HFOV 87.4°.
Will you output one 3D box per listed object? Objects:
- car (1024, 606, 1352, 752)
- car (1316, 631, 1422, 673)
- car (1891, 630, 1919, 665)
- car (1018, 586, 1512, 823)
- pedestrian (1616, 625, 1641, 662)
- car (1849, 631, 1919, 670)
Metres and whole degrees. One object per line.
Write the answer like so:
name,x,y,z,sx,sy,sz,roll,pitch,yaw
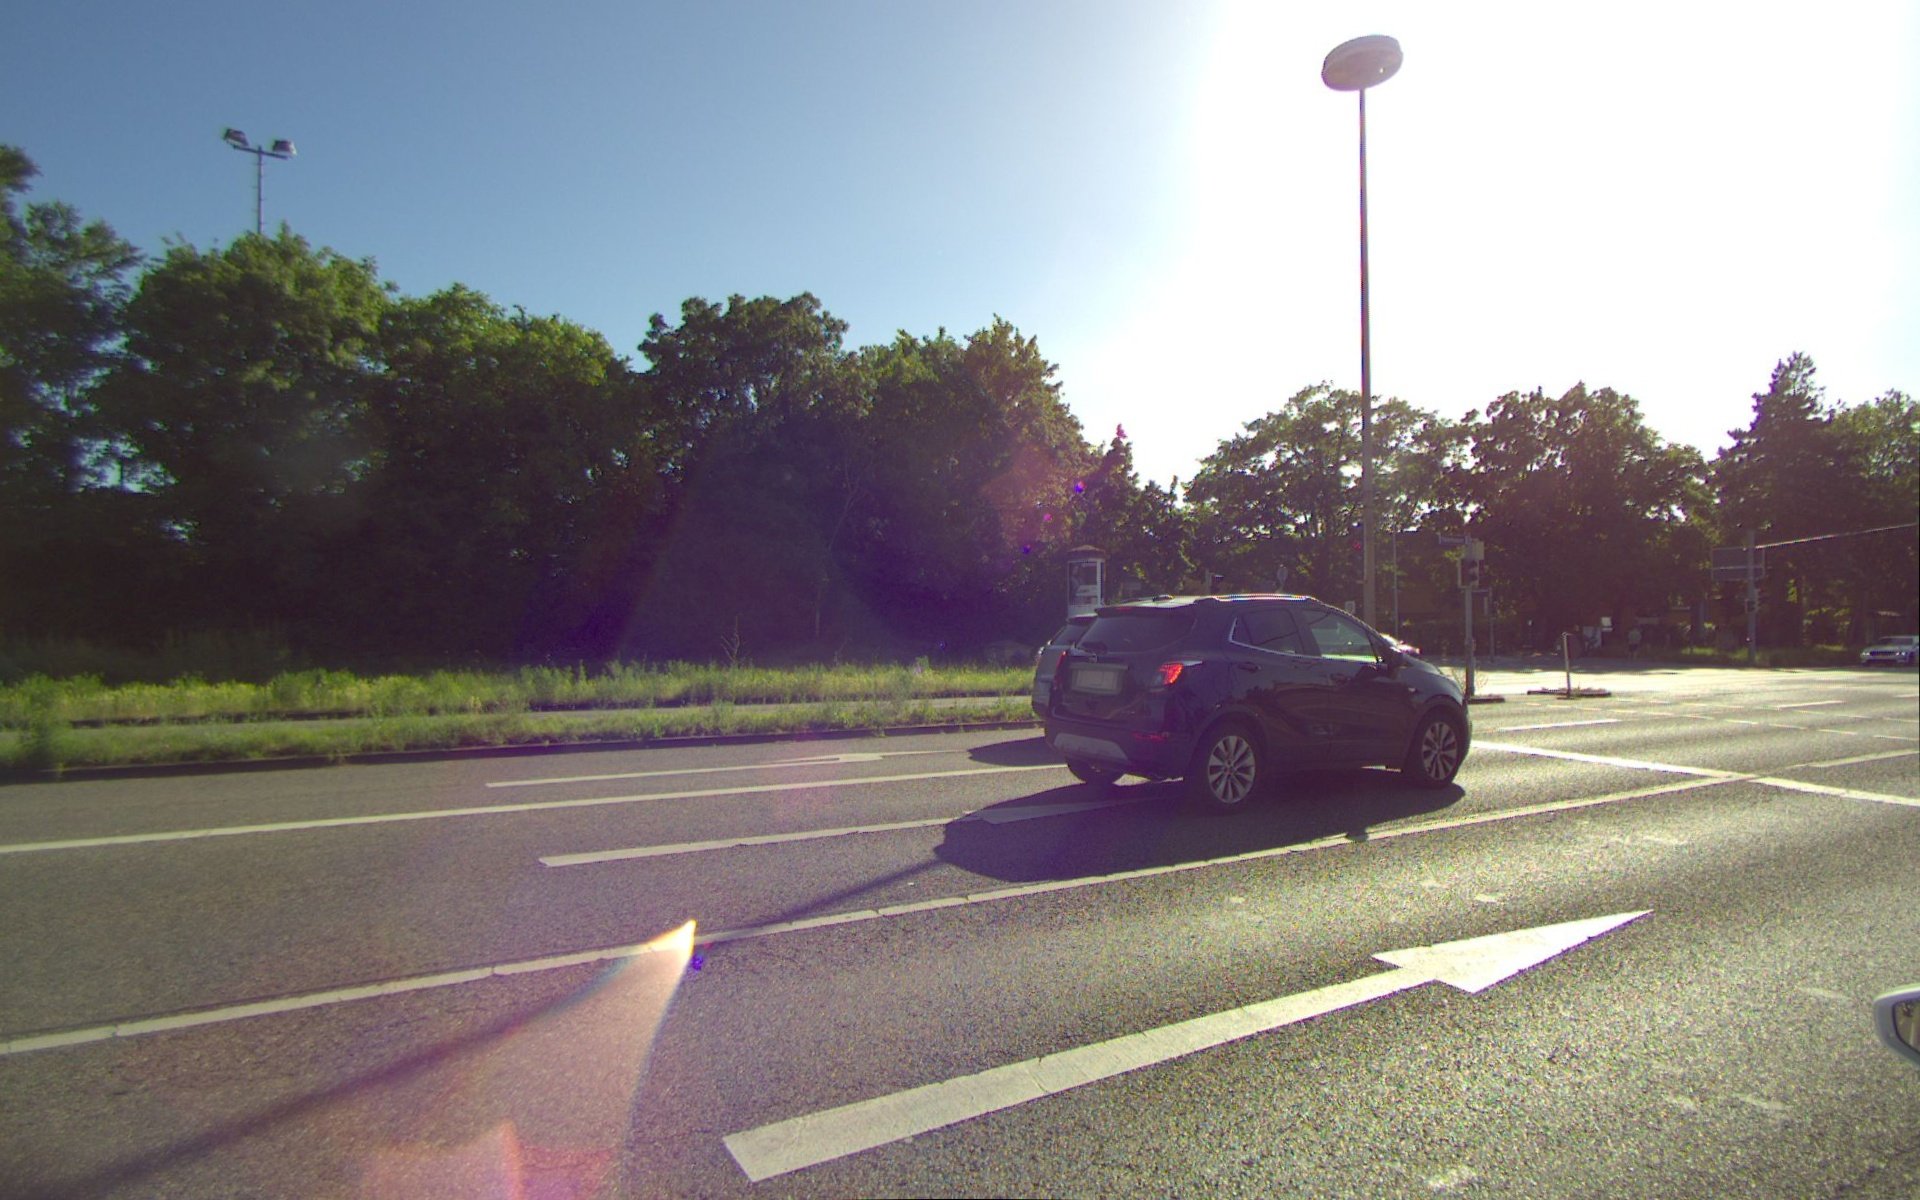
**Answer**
car,2.997,0.944,13.006,4.058,1.631,1.776,1,-2,-30
car,16.470,2.073,40.619,1.841,1.442,3.914,2,0,-19
car,50.651,2.507,52.383,3.953,1.773,1.984,2,0,-30
car,2.788,0.796,8.869,4.366,1.653,1.688,1,-2,-30
pedestrian,33.330,2.165,50.065,0.542,1.859,0.843,1,-2,-26
car,44.791,2.430,48.249,4.210,1.706,1.855,2,0,-30
